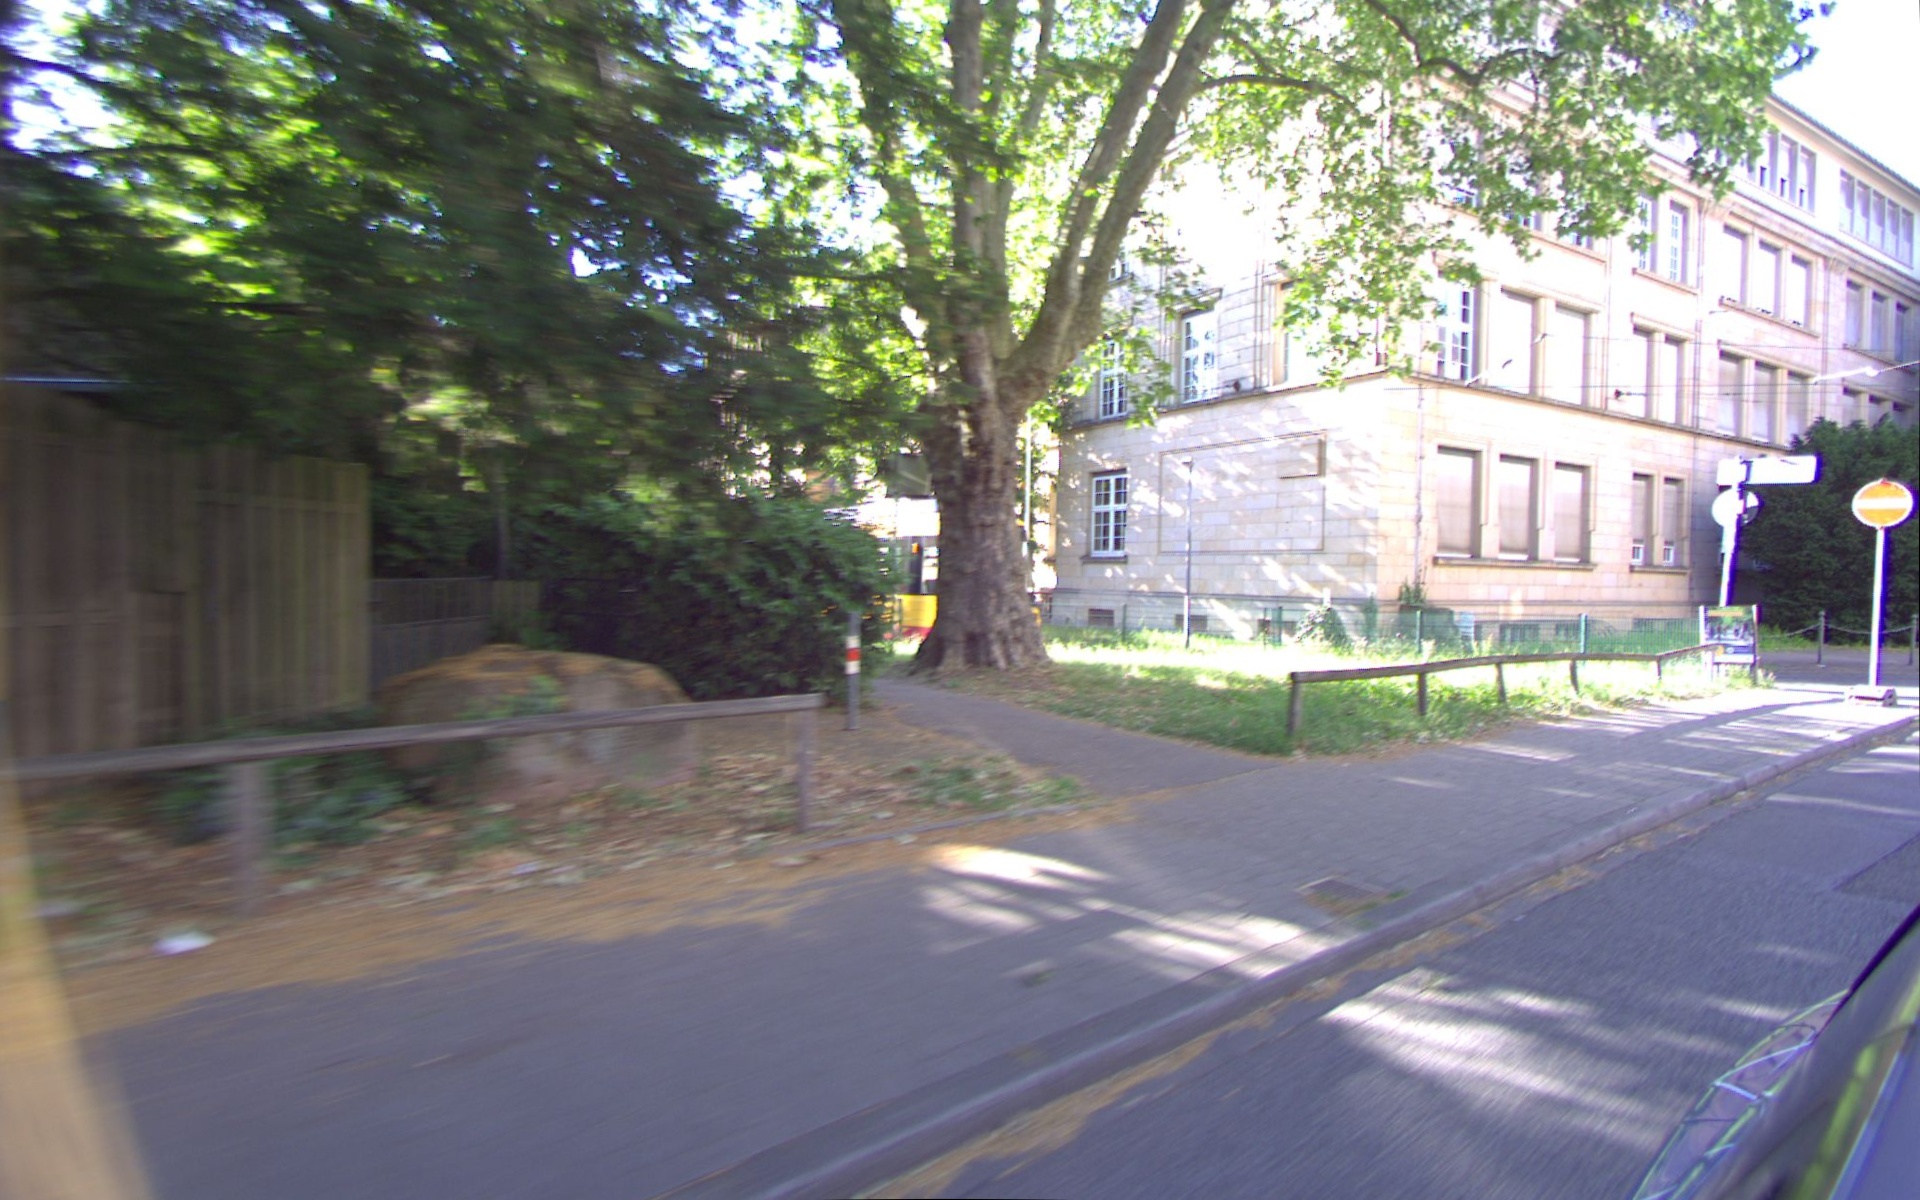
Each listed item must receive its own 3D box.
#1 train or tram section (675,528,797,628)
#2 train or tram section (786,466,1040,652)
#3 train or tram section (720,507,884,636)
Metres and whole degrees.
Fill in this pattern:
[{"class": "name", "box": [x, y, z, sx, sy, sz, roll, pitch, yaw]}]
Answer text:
[{"class": "train or tram section", "box": [-9.260, -0.795, 40.920, 2.741, 3.564, 9.282, 0, 0, -26]}, {"class": "train or tram section", "box": [-1.580, -0.799, 24.217, 2.740, 3.564, 9.283, 0, 0, -25]}, {"class": "train or tram section", "box": [-5.382, -0.798, 32.592, 2.740, 3.564, 9.283, 0, 0, -25]}]
